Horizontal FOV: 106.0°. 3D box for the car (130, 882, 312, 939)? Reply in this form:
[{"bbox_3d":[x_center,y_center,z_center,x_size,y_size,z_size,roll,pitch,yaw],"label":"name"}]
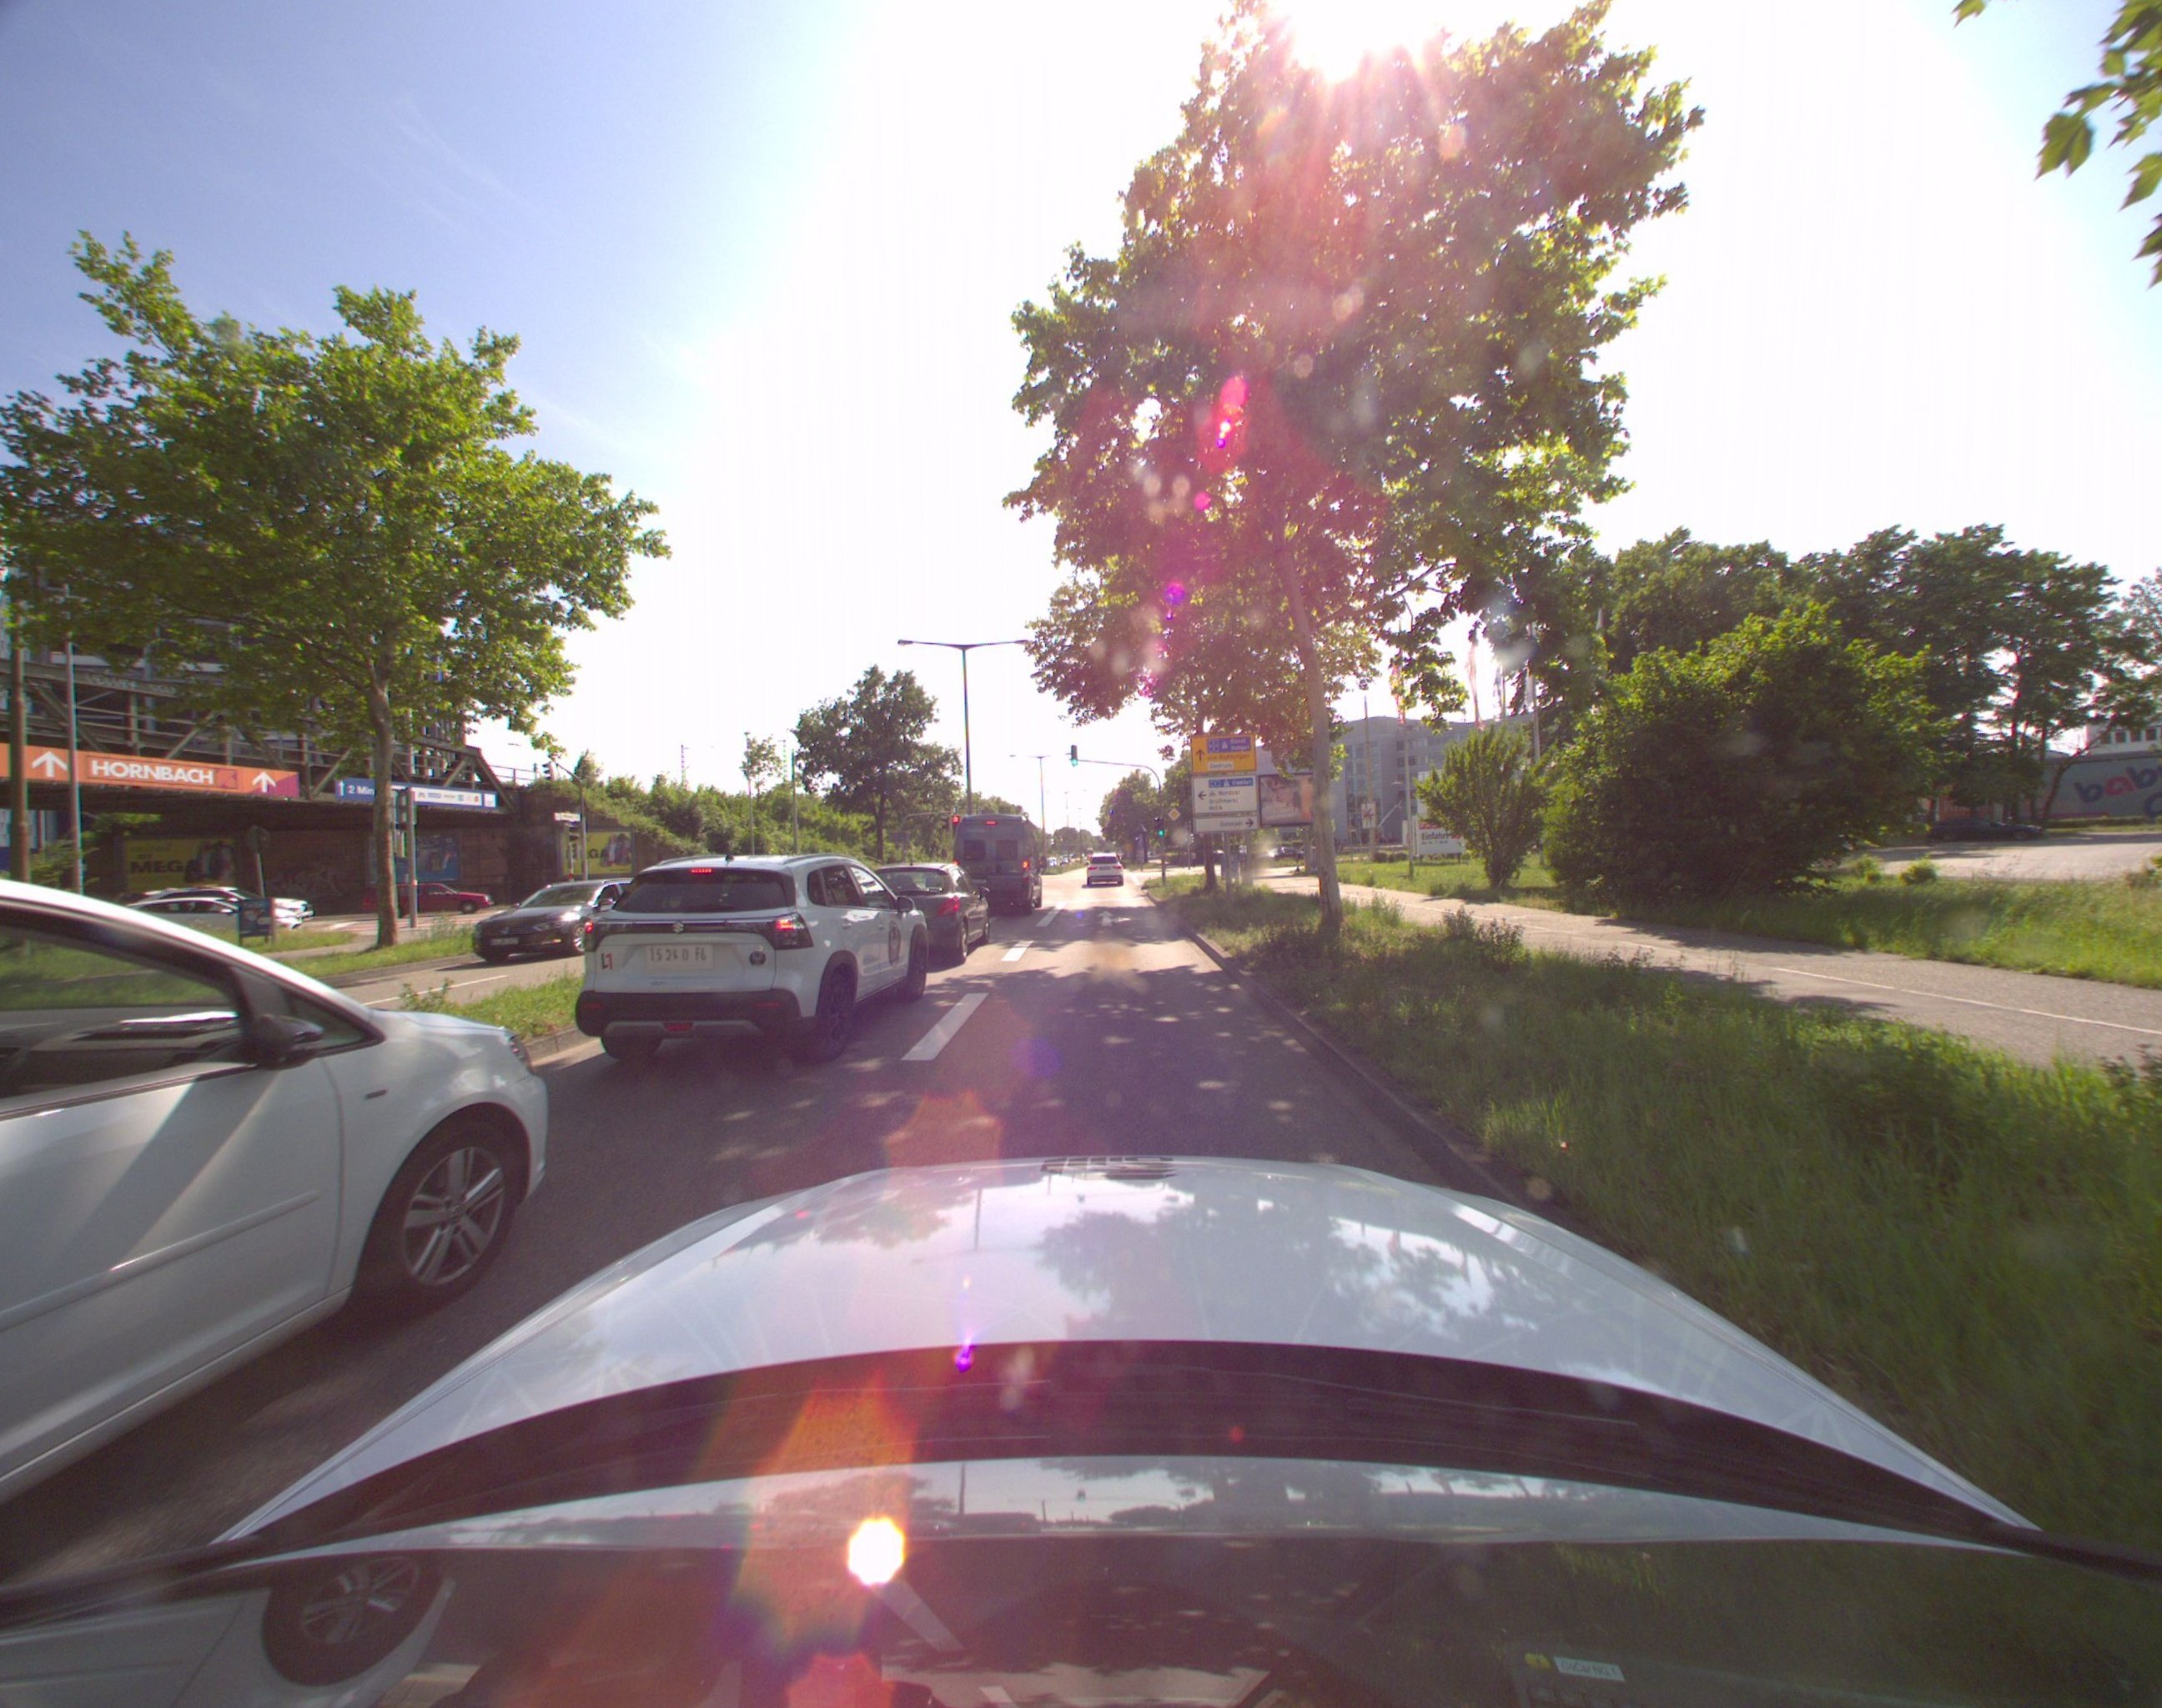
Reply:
[{"bbox_3d":[-31.104,1.996,29.654,4.144,1.732,1.864,-2,0,-31],"label":"car"}]

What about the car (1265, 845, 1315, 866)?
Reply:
[{"bbox_3d":[17.583,0.142,68.604,3.787,1.757,1.599,0,-1,-8],"label":"car"}]

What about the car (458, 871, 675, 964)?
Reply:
[{"bbox_3d":[-10.413,1.206,16.913,1.732,1.486,4.158,-4,0,0],"label":"car"}]

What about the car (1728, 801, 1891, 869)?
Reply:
[{"bbox_3d":[23.908,-0.584,26.814,2.011,2.013,3.750,-2,0,-42],"label":"car"}]

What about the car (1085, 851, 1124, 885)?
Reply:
[{"bbox_3d":[1.267,0.671,41.724,1.846,1.607,4.004,-1,1,3],"label":"car"}]

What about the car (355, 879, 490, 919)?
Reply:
[{"bbox_3d":[-28.350,1.917,35.234,4.348,1.426,1.471,-2,0,-33],"label":"car"}]

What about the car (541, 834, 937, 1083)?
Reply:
[{"bbox_3d":[-2.668,0.720,7.516,1.764,1.647,4.087,-1,-1,2],"label":"car"}]

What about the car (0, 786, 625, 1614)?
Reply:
[{"bbox_3d":[-3.052,0.706,1.533,1.764,1.647,4.354,-1,-1,2],"label":"car"}]

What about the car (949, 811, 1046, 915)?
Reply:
[{"bbox_3d":[-2.265,0.262,23.489,2.073,2.656,4.877,-1,-1,2],"label":"car"}]

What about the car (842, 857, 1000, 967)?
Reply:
[{"bbox_3d":[-2.427,0.814,13.281,1.685,1.505,3.887,0,0,2],"label":"car"}]

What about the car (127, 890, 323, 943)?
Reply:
[{"bbox_3d":[-27.631,1.965,26.497,4.013,1.345,1.864,-2,0,-31],"label":"car"}]
